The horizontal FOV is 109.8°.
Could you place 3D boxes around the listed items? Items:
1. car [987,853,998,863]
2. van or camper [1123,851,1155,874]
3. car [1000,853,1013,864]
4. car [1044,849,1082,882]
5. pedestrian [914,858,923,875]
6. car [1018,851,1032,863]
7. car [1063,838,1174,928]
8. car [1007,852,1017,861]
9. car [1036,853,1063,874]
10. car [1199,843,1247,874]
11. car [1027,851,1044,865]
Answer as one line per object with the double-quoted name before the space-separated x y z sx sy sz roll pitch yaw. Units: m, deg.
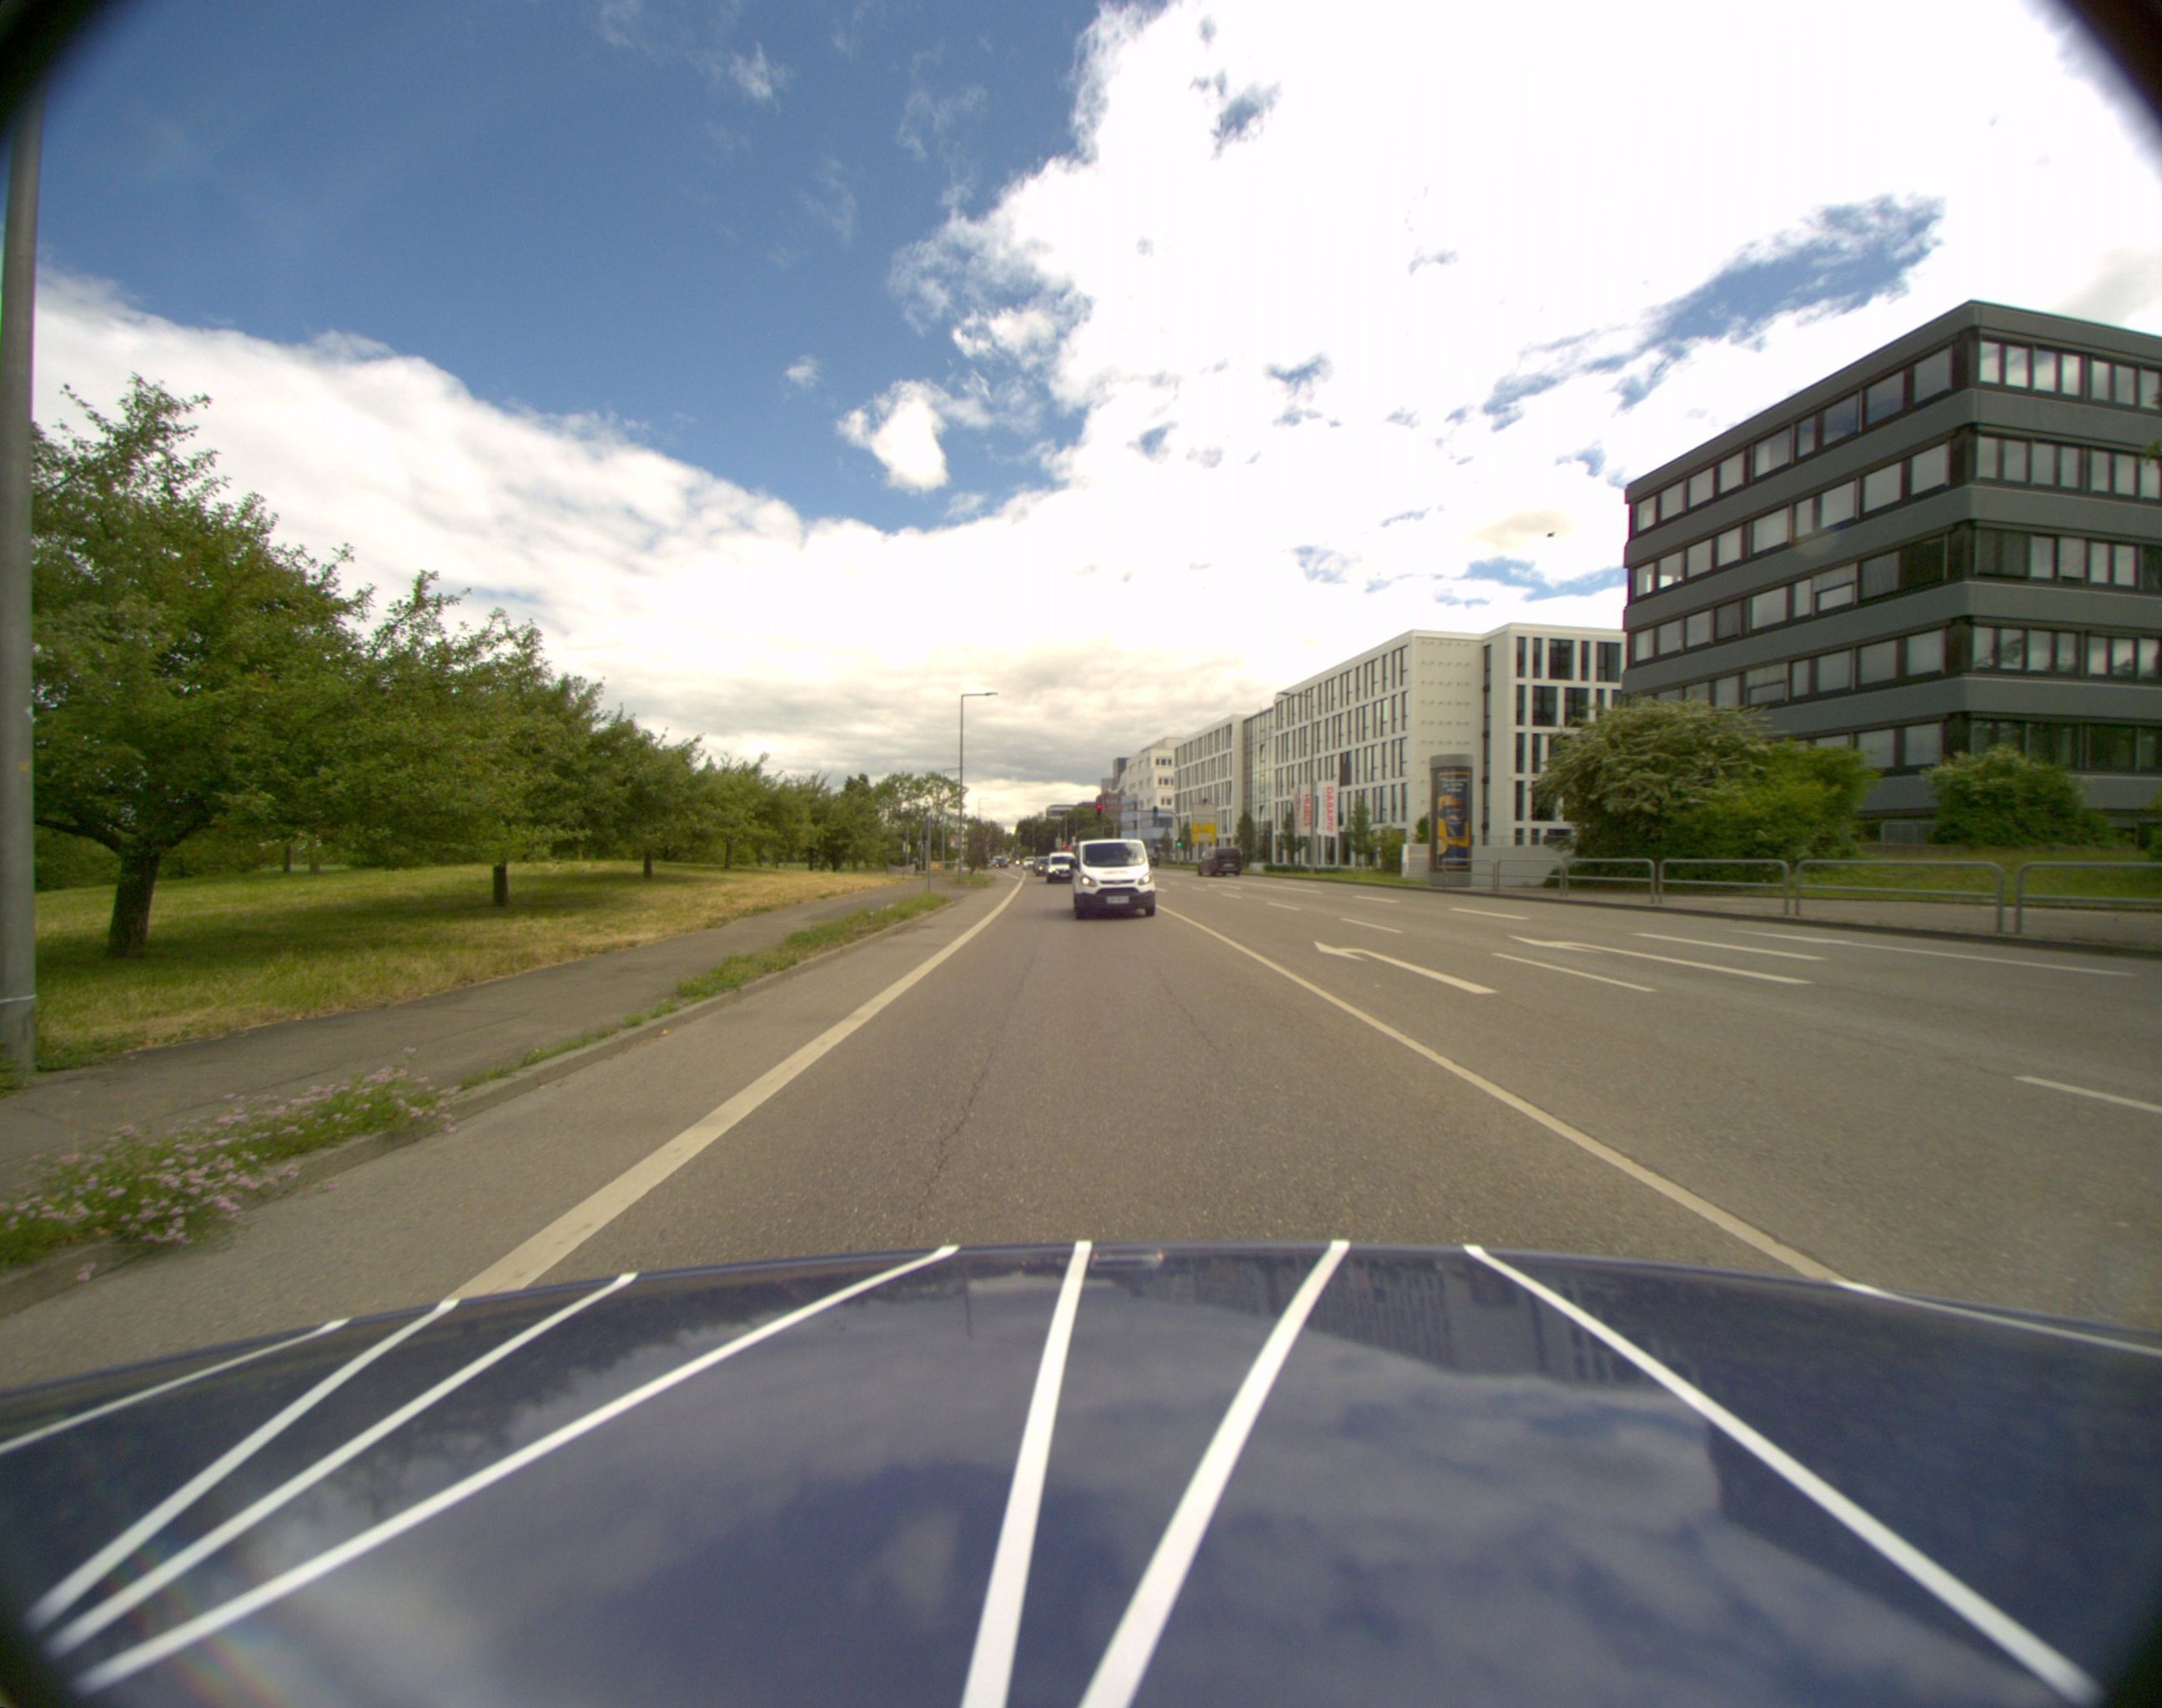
"car" -13.735 0.569 118.081 1.736 1.432 4.365 -1 0 -6
"van or camper" 4.268 0.584 56.304 1.749 1.600 4.044 -1 0 -4
"car" -10.377 0.601 105.500 1.736 1.432 4.365 -1 0 -6
"car" -1.110 0.629 45.260 1.873 1.836 4.368 -1 0 -6
"pedestrian" -17.527 1.352 81.993 0.766 1.872 0.800 -2 1 -9
"car" -8.679 0.457 117.172 1.873 1.685 4.368 -1 0 -8
"car" 0.772 0.632 20.042 2.123 1.963 6.203 -1 0 -4
"car" -13.349 0.453 147.317 1.873 1.685 4.368 -1 0 -6
"car" -2.600 0.746 62.245 1.873 1.685 4.368 -1 0 -6
"car" 9.344 0.293 50.356 2.024 1.936 5.363 -1 0 -2
"car" -5.489 0.451 91.301 1.873 1.685 4.368 -1 0 -6
